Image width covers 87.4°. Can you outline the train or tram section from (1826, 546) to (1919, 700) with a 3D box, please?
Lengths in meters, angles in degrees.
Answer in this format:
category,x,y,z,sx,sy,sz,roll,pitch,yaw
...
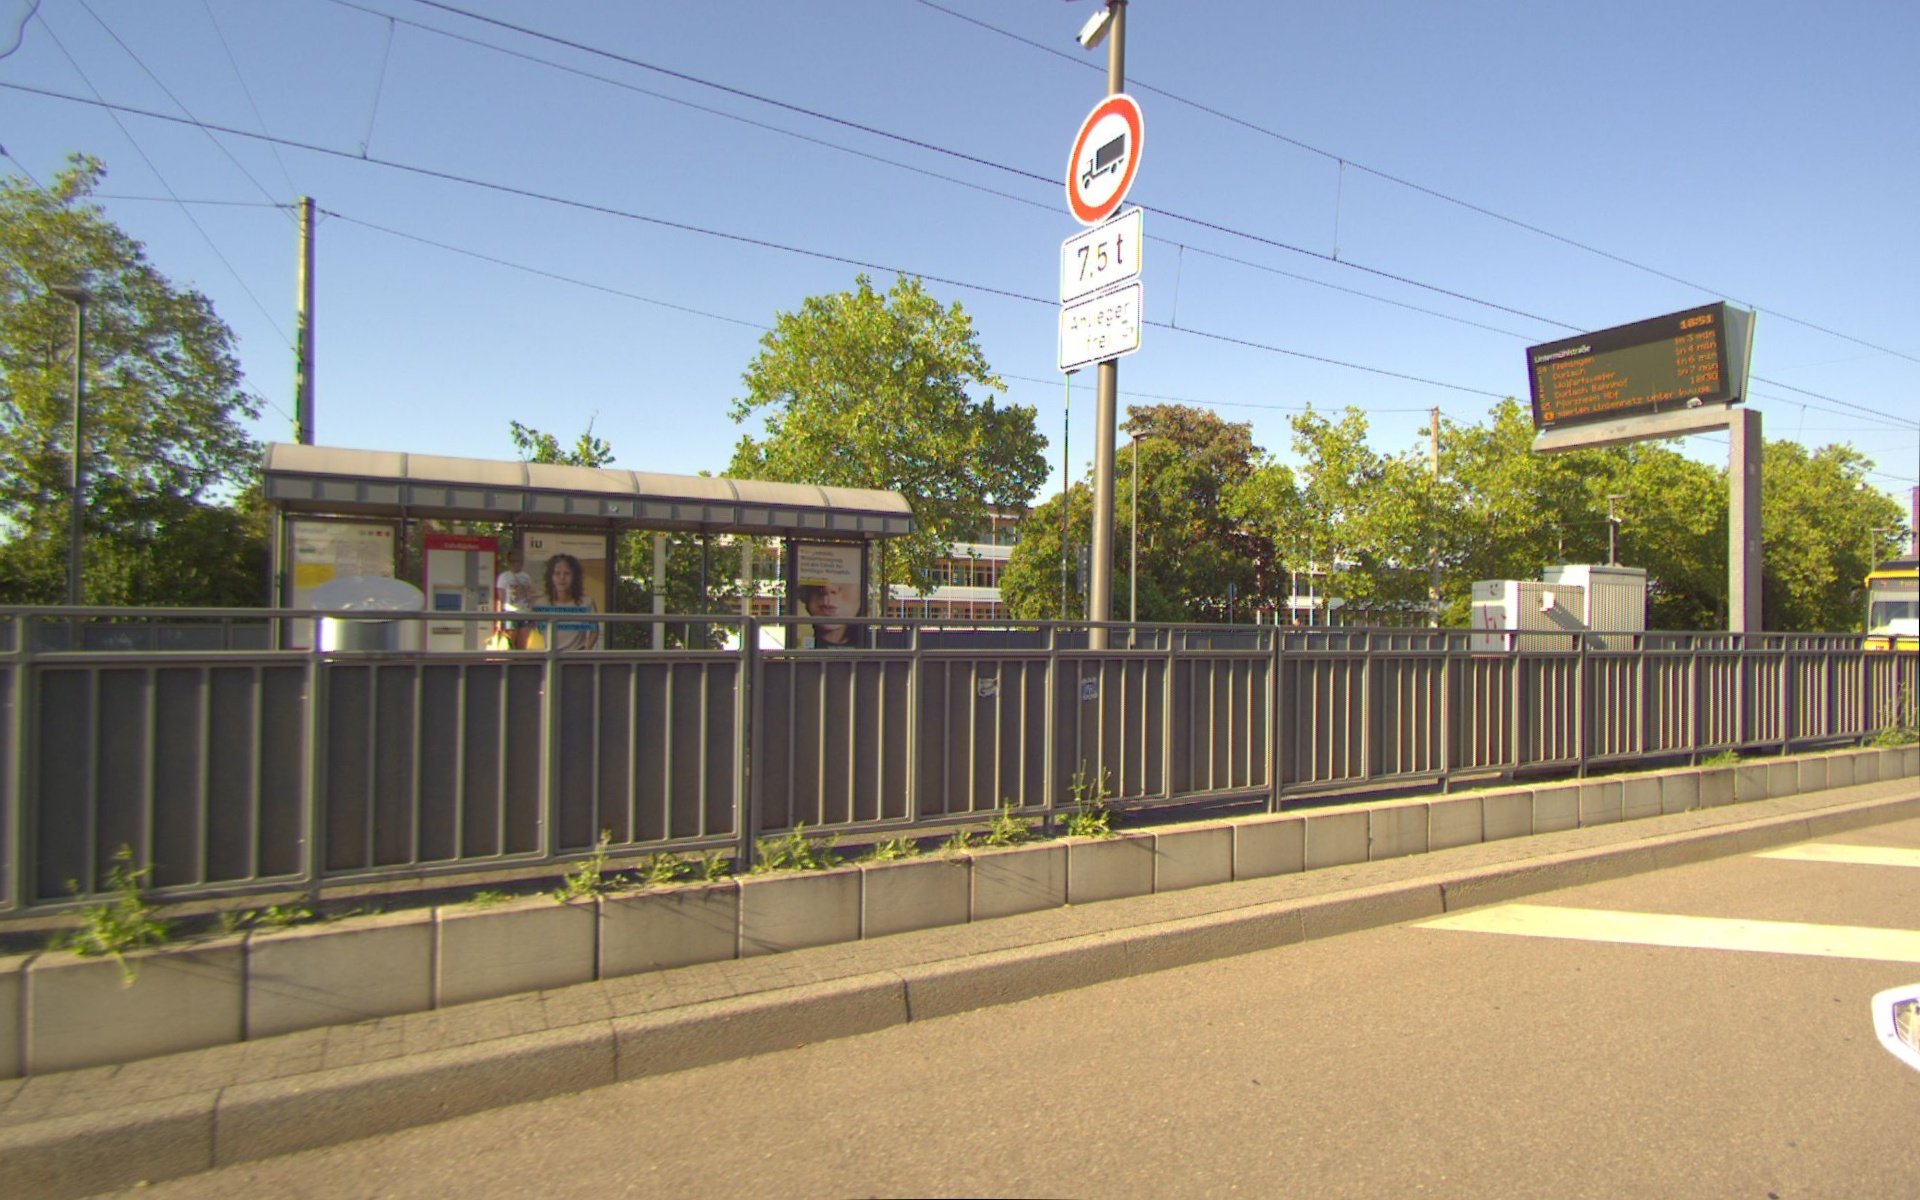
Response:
category,x,y,z,sx,sy,sz,roll,pitch,yaw
train or tram section,31.930,0.790,30.870,15.681,4.059,2.815,2,0,-29

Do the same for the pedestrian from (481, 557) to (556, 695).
category,x,y,z,sx,sy,sz,roll,pitch,yaw
pedestrian,-5.869,0.341,13.366,0.579,1.780,0.697,1,-1,41
